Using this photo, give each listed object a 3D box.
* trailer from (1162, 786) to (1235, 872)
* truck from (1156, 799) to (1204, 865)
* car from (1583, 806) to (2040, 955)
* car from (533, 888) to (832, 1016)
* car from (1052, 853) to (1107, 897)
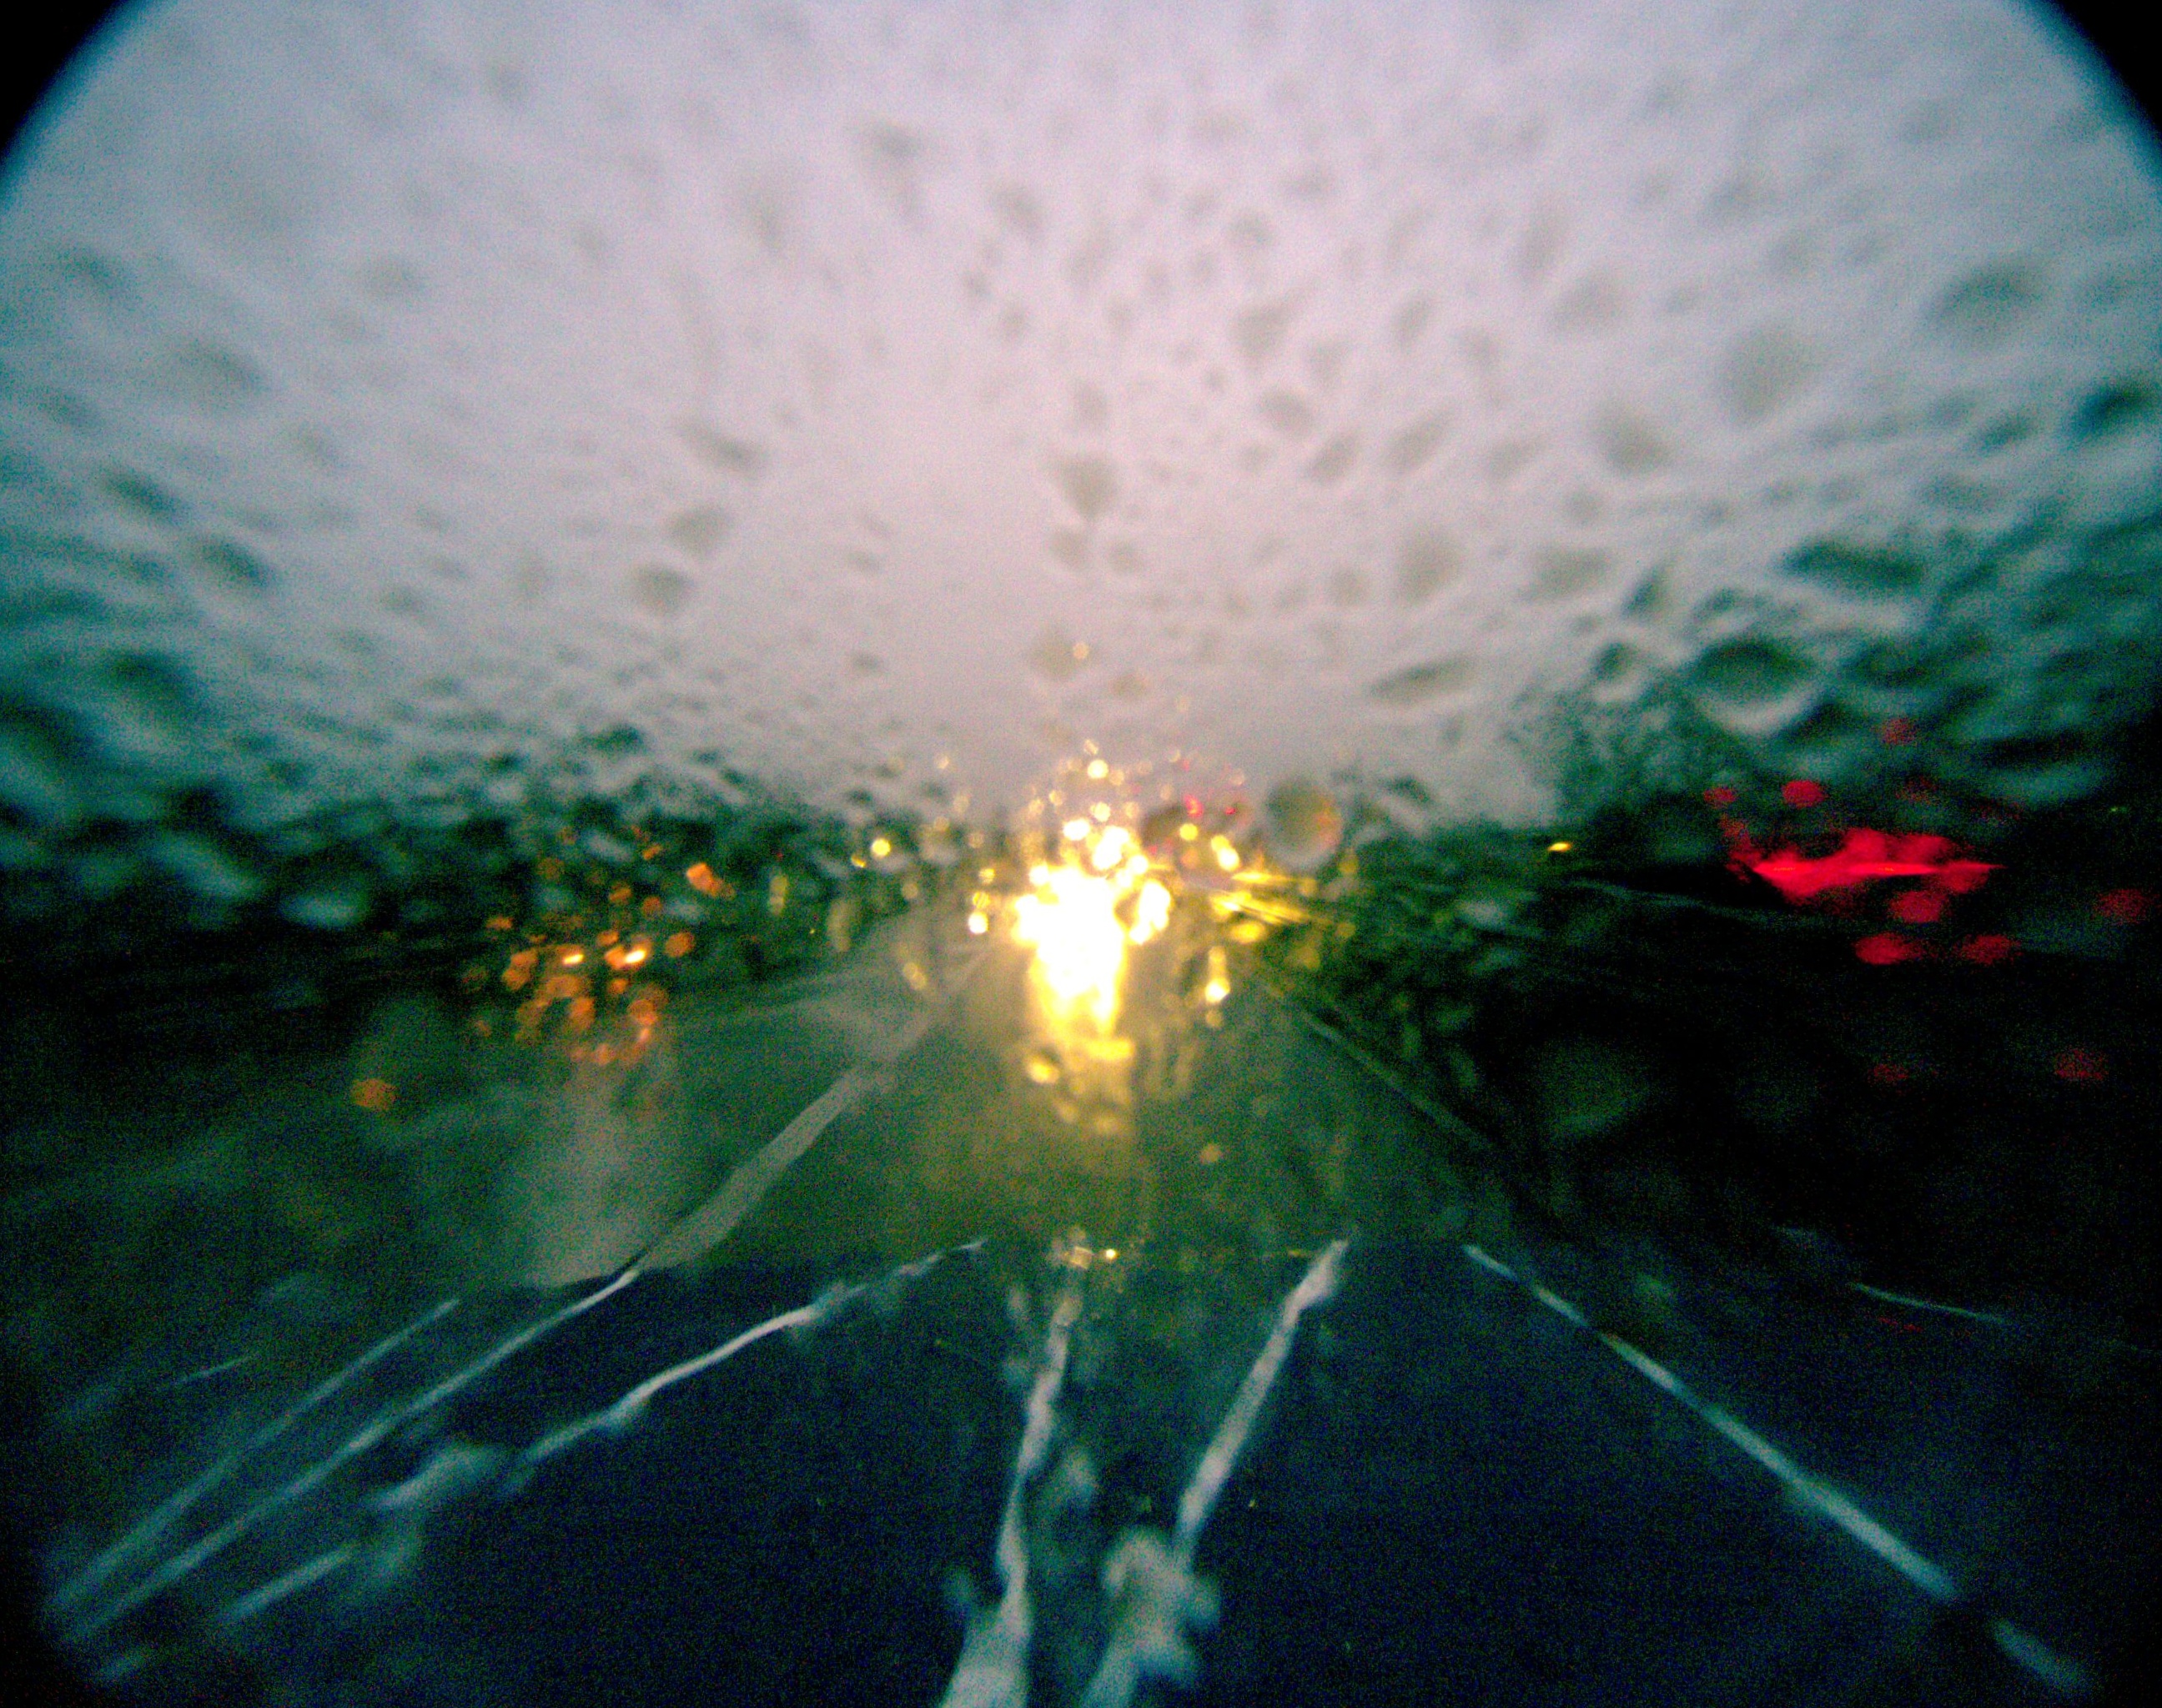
[{"bbox_3d":[7.111,-1.435,48.098,2.634,4.558,13.324,-3,1,1],"label":"trailer"},{"bbox_3d":[7.229,-1.564,56.136,2.601,4.553,6.357,-1,1,0],"label":"truck"},{"bbox_3d":[9.720,0.346,10.805,2.099,1.584,4.479,-2,-1,-1],"label":"car"},{"bbox_3d":[-6.198,1.460,12.517,1.739,1.406,4.382,-5,0,15],"label":"car"},{"bbox_3d":[0.006,0.743,28.843,1.886,1.513,4.000,-2,0,2],"label":"car"}]
